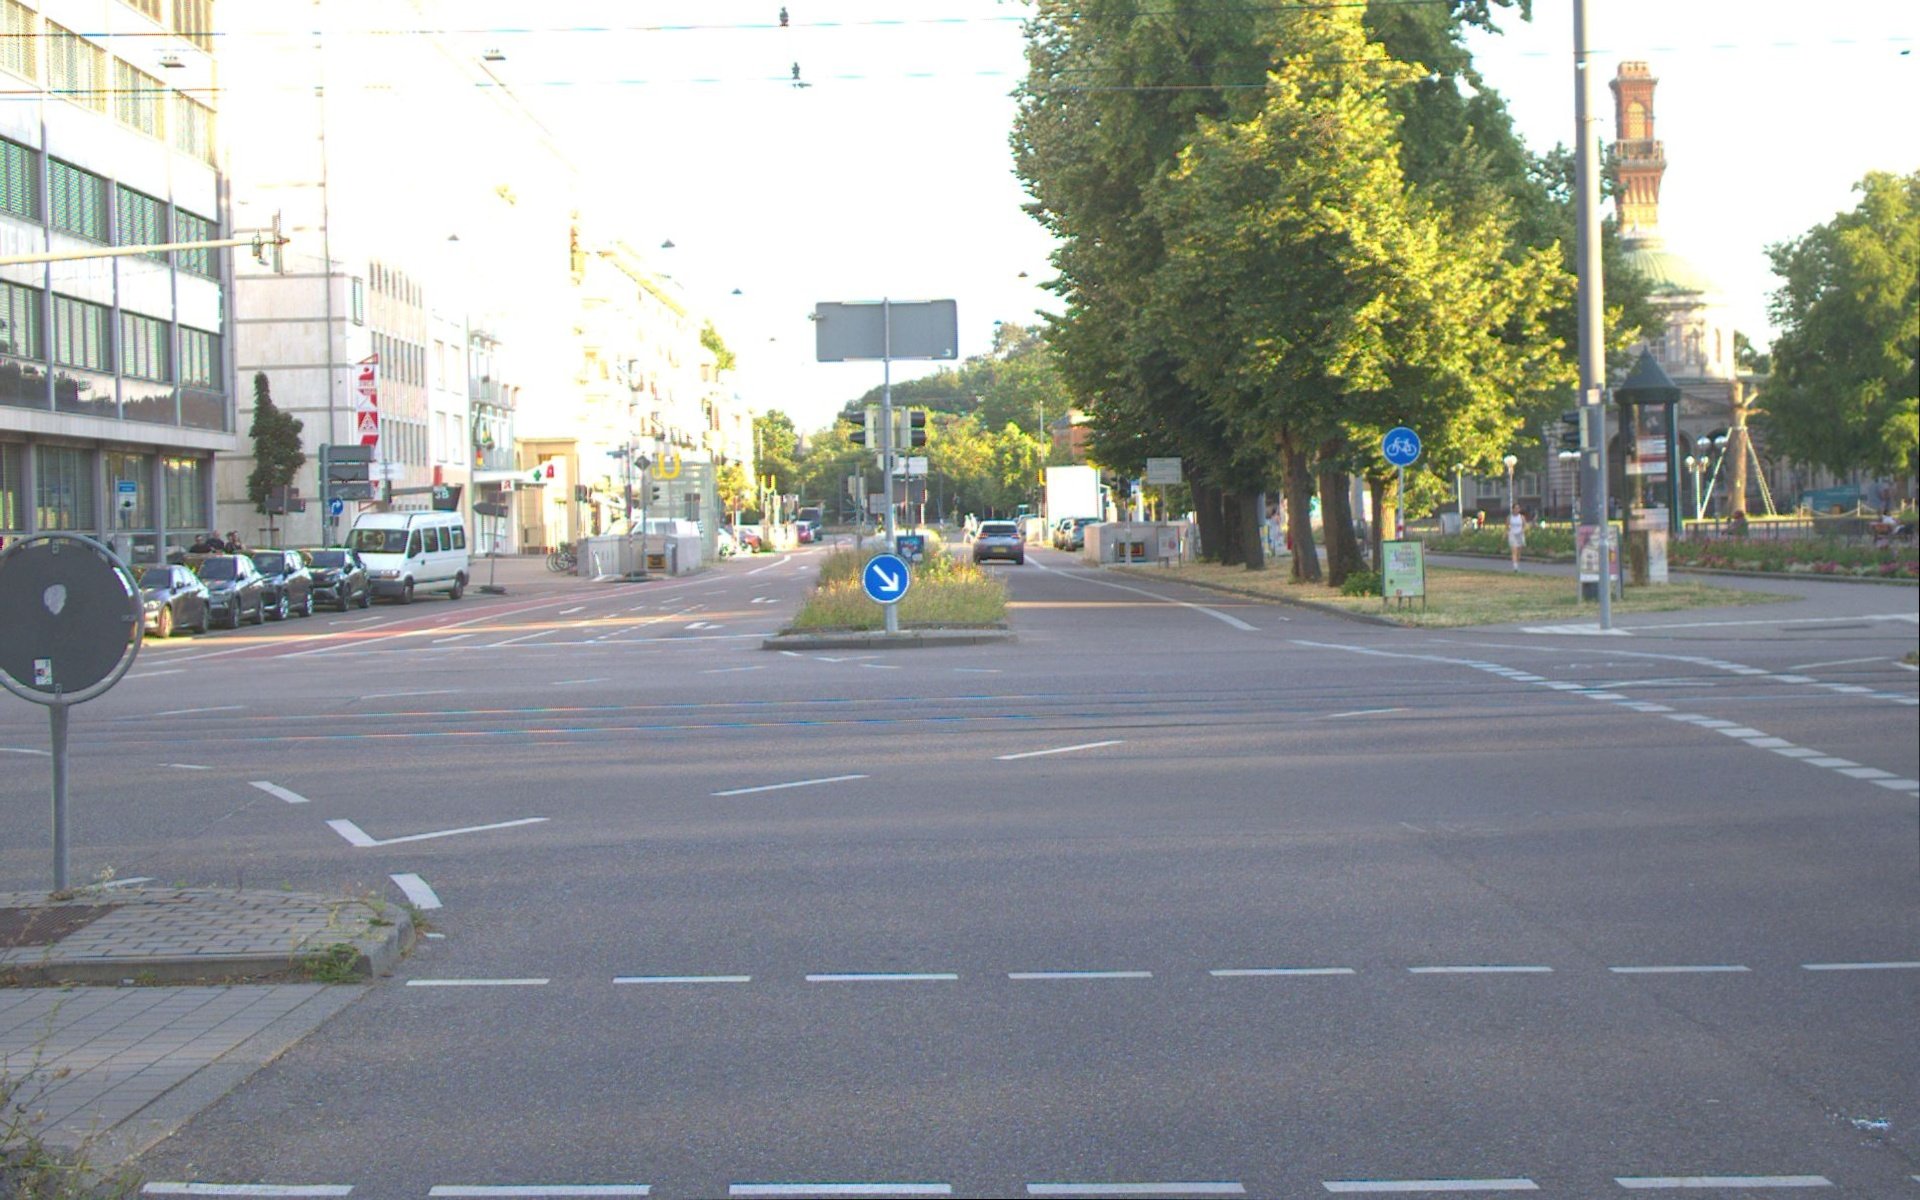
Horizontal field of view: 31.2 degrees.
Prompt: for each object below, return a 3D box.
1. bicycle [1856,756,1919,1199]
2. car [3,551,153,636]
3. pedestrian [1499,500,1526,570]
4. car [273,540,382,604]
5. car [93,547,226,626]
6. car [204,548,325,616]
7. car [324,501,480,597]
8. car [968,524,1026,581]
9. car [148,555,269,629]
[{"bbox_3d":[1.834,0.818,4.754,0.637,1.065,2.069,0,1,0],"label":"bicycle"},{"bbox_3d":[-16.358,-0.095,63.923,1.796,1.470,4.000,-1,-1,-1],"label":"car"},{"bbox_3d":[13.171,-1.547,82.007,0.508,1.663,0.531,-1,1,-1],"label":"pedestrian"},{"bbox_3d":[-15.967,-0.687,86.941,1.796,1.470,3.999,-2,-1,3],"label":"car"},{"bbox_3d":[-16.264,-0.260,70.000,1.796,1.470,4.000,-1,-1,-1],"label":"car"},{"bbox_3d":[-16.257,-0.404,80.544,1.796,1.470,3.999,-2,-1,3],"label":"car"},{"bbox_3d":[-15.119,-1.352,93.523,2.177,2.377,5.986,-2,-1,11],"label":"car"},{"bbox_3d":[1.350,-1.769,126.691,1.993,2.007,4.000,-1,1,-1],"label":"car"},{"bbox_3d":[-16.360,-0.156,75.010,1.796,1.470,4.000,-1,-1,-1],"label":"car"}]
